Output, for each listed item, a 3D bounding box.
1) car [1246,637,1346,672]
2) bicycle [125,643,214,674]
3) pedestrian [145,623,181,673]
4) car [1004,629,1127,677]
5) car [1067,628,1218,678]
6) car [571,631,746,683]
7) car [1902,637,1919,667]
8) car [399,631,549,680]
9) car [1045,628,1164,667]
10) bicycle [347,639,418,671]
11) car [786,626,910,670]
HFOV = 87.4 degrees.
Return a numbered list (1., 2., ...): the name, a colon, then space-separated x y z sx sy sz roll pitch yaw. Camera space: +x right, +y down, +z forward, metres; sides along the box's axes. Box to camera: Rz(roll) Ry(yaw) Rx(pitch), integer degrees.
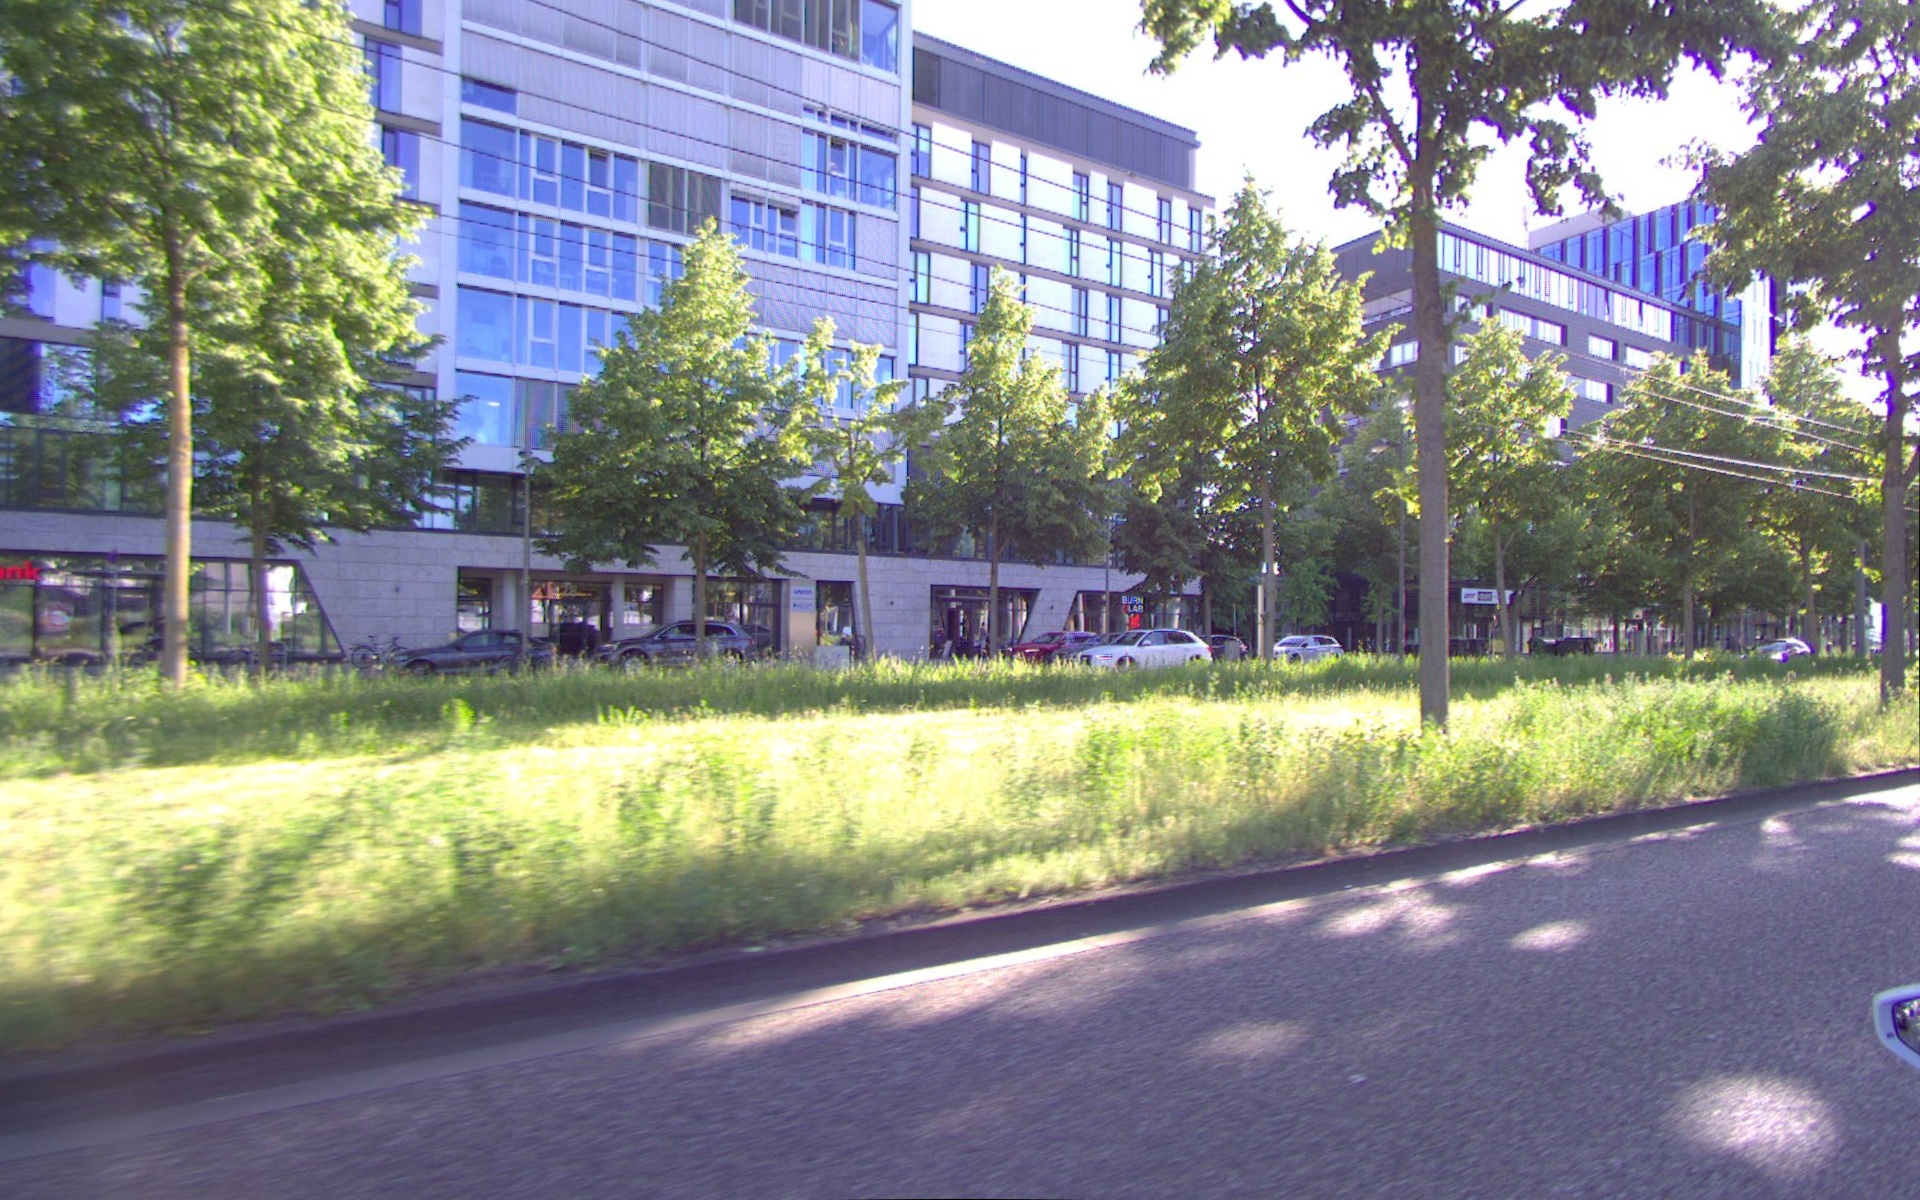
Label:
1. car: 14.833 2.385 44.268 4.491 1.439 1.707 1 -2 -30
2. bicycle: -23.308 1.732 29.657 1.992 0.892 0.538 2 -2 -31
3. pedestrian: -23.155 1.387 29.188 0.682 1.431 0.405 3 -2 -30
4. car: 4.427 2.160 41.829 5.070 1.800 1.788 1 0 -31
5. car: 5.395 1.521 29.550 4.261 1.309 1.789 0 -2 -31
6. car: -8.976 1.669 30.053 4.750 1.438 1.660 1 -2 -31
7. car: 58.891 3.157 60.698 4.271 1.711 1.789 1 0 -31
8. car: -13.212 1.489 27.326 3.542 1.223 1.660 2 -2 -31
9. car: 5.589 1.810 38.739 4.492 1.439 1.707 2 -2 -30
10. bicycle: -18.679 1.780 32.523 1.960 0.985 0.538 3 -2 -31
11. car: -3.671 1.570 33.051 3.710 1.372 1.725 2 -2 -31
